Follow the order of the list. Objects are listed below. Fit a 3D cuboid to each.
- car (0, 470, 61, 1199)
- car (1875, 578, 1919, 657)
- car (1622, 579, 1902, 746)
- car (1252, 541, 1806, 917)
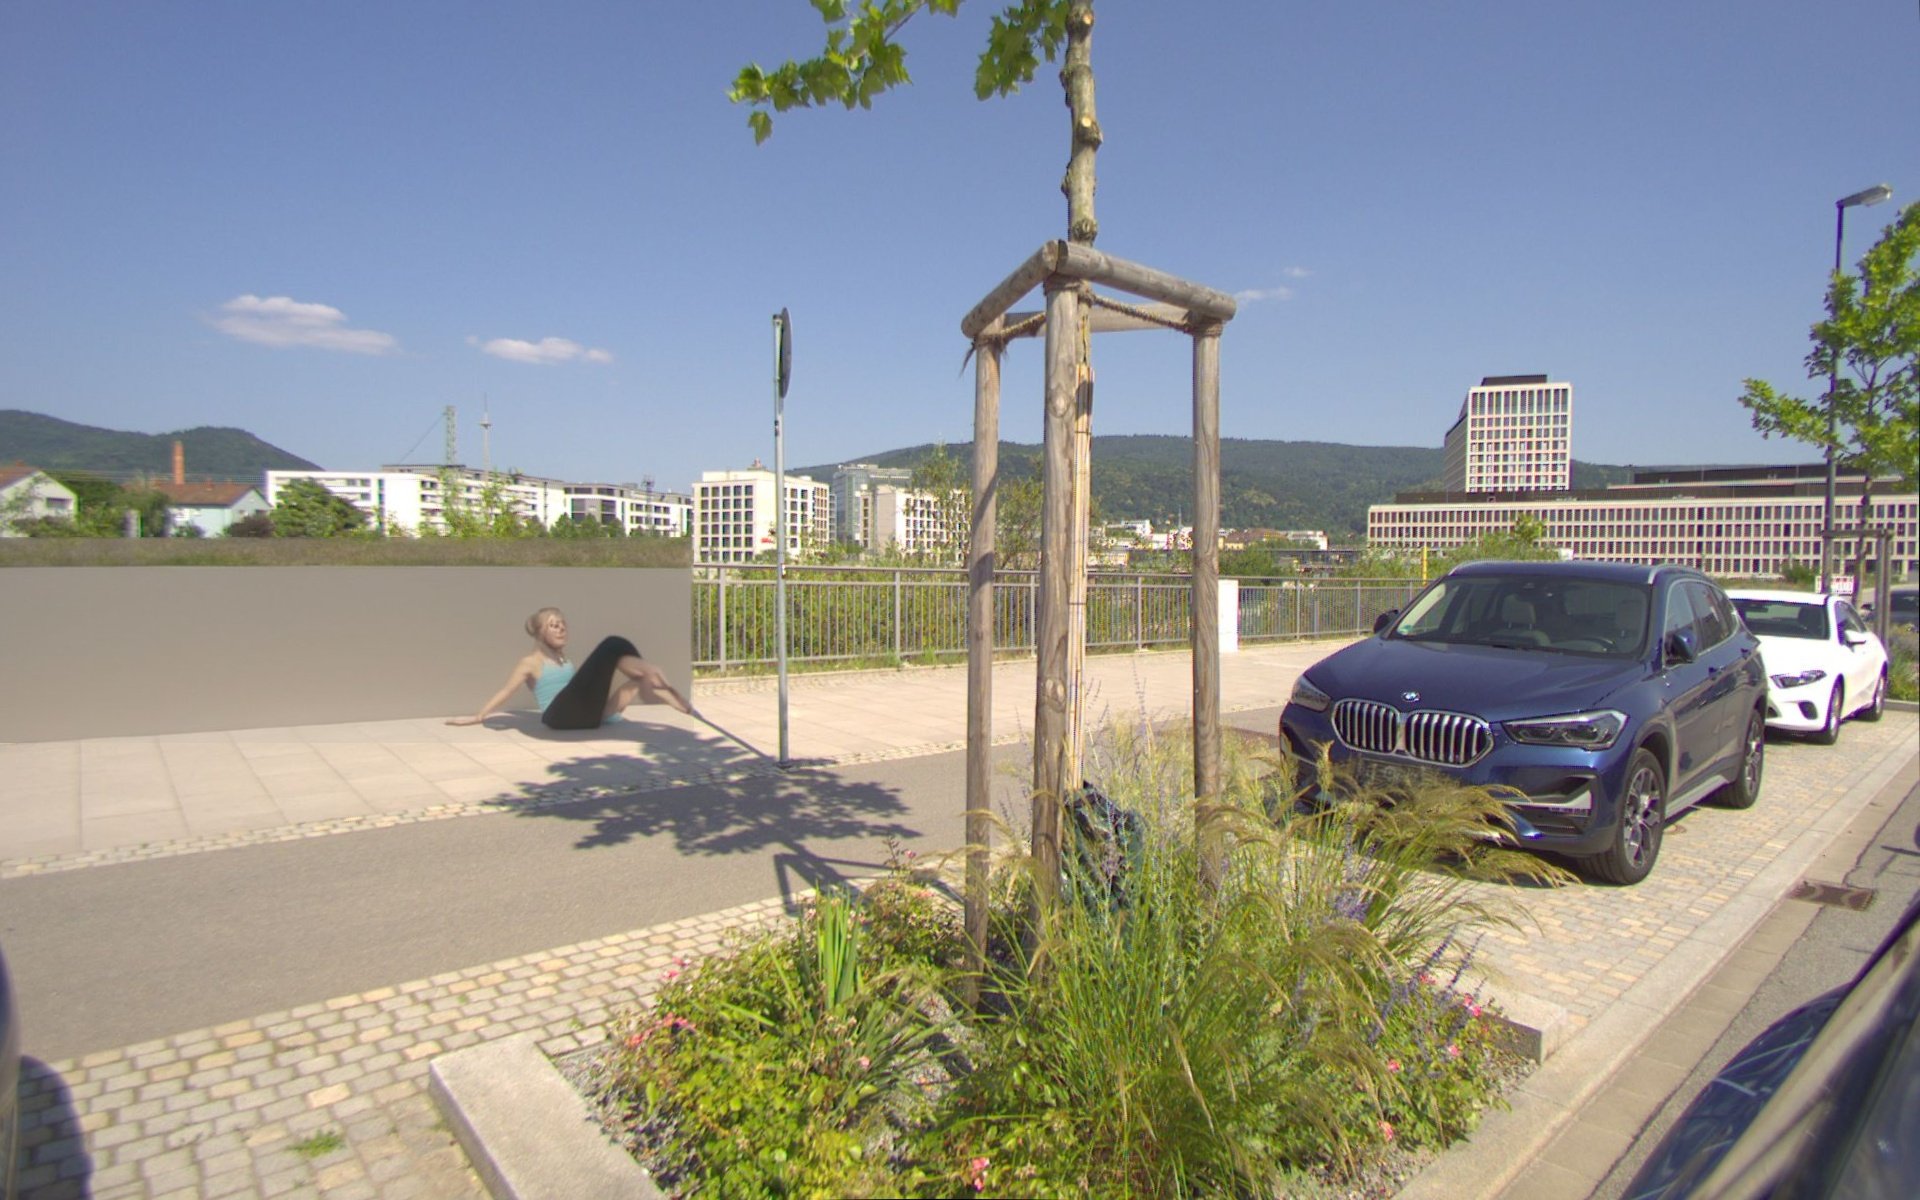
[{"bbox_3d":[-2.984,0.555,0.362,3.930,1.443,1.664,-1,4,-41],"label":"car"},{"bbox_3d":[20.468,0.321,21.049,3.930,1.558,1.663,-1,0,-41],"label":"car"},{"bbox_3d":[8.698,0.528,10.865,3.930,1.473,1.663,-1,0,-41],"label":"car"},{"bbox_3d":[3.798,0.533,6.416,4.164,1.627,1.768,-1,0,-41],"label":"car"}]
